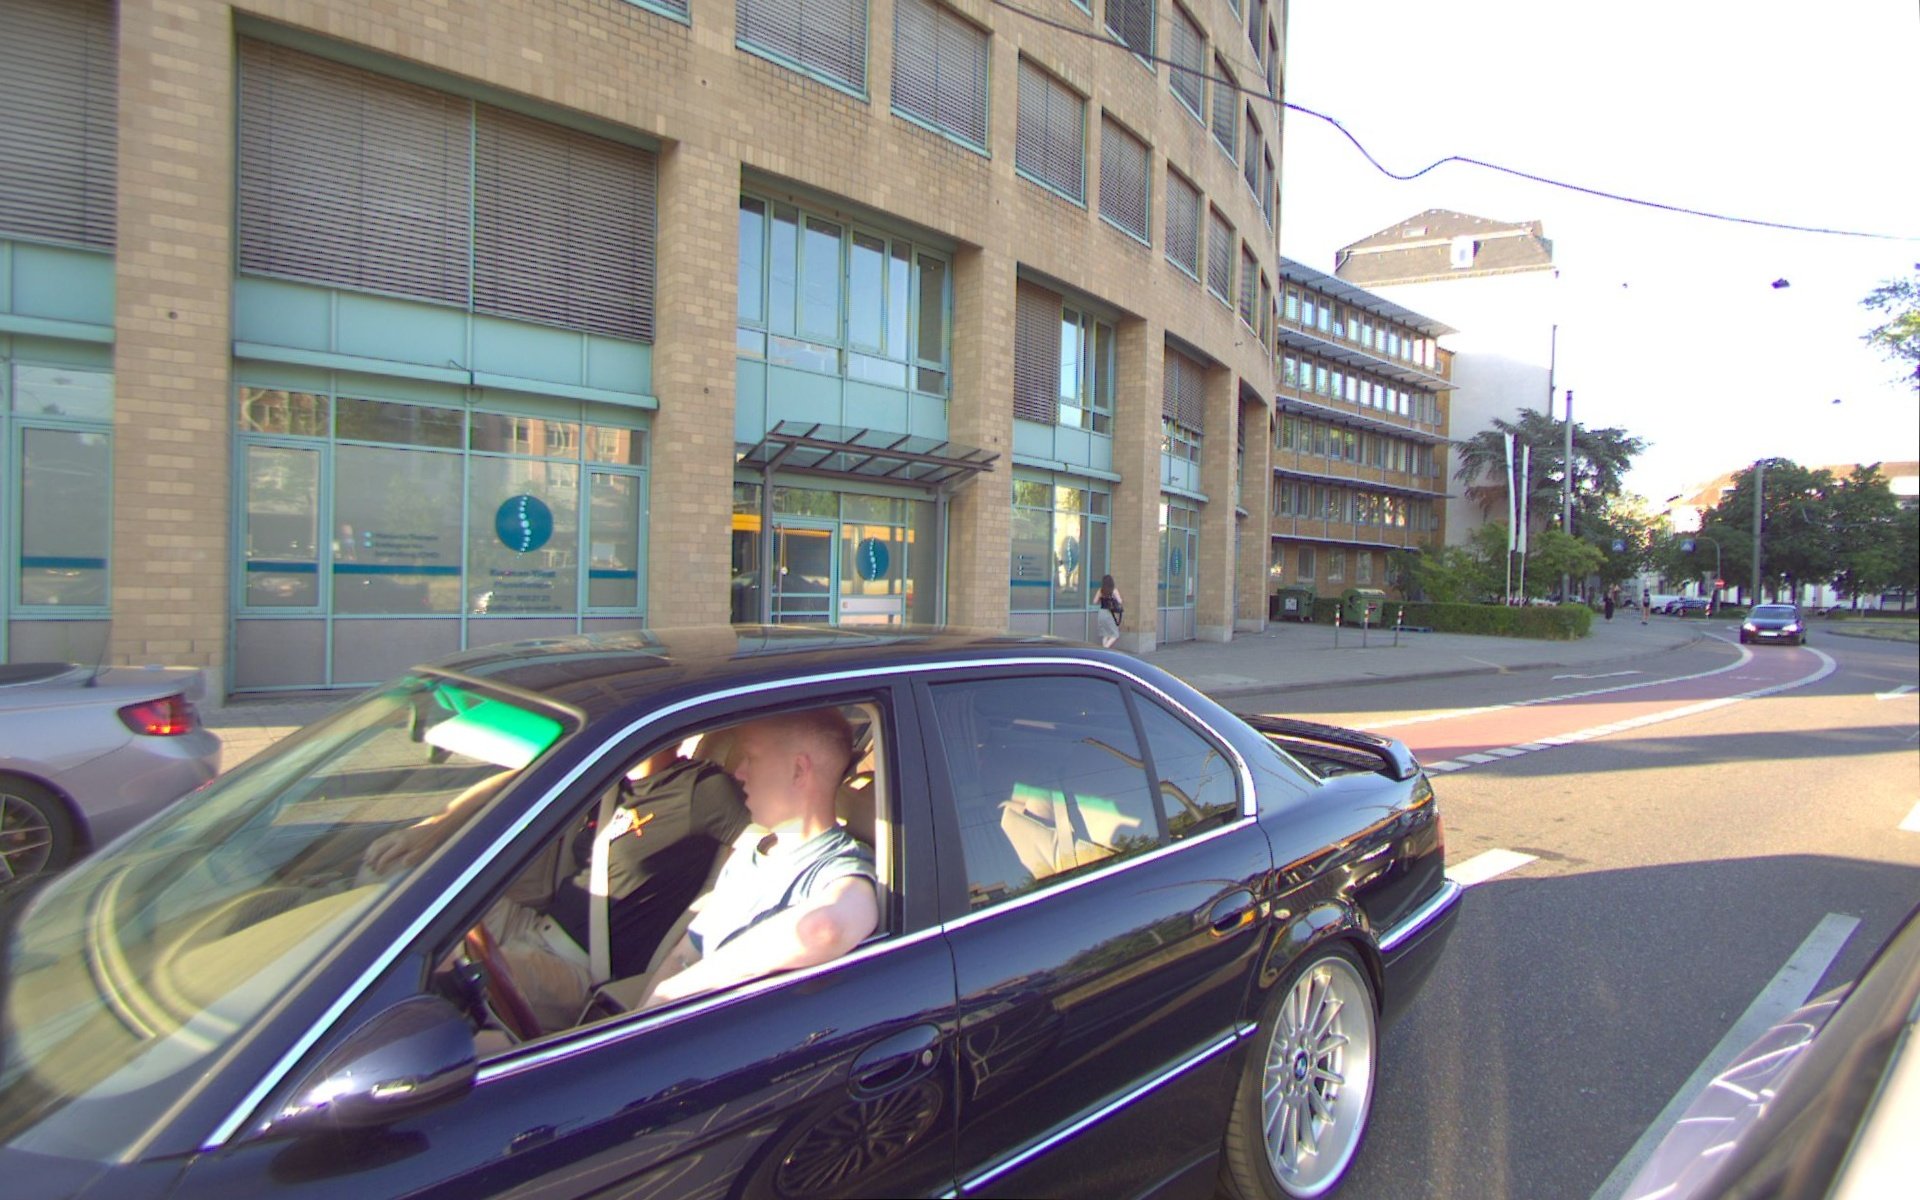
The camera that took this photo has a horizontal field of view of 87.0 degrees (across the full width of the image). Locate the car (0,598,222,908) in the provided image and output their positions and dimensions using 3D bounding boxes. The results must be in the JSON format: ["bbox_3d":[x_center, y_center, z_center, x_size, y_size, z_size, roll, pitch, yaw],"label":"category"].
[{"bbox_3d":[-5.906,0.699,4.473,4.153,1.403,1.746,0,0,-41],"label":"car"}]

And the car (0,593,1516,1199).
[{"bbox_3d":[-0.710,0.700,2.329,4.656,1.402,1.997,0,1,-41],"label":"car"}]

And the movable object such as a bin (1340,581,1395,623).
[{"bbox_3d":[14.878,0.069,36.959,1.311,1.477,1.424,0,1,-45],"label":"movable object such as a bin"}]

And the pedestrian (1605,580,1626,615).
[{"bbox_3d":[34.845,-0.117,53.801,0.711,1.830,0.728,0,1,-41],"label":"pedestrian"}]

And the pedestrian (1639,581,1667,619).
[{"bbox_3d":[35.997,-0.003,52.612,0.900,1.918,1.119,1,1,20],"label":"pedestrian"}]

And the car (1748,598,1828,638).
[{"bbox_3d":[30.793,0.631,37.616,3.932,1.404,1.756,0,0,-42],"label":"car"}]

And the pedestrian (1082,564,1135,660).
[{"bbox_3d":[2.696,0.204,18.363,0.702,1.702,0.626,0,1,-44],"label":"pedestrian"}]

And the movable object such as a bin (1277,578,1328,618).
[{"bbox_3d":[13.360,-0.084,39.504,1.310,1.477,1.425,0,1,-43],"label":"movable object such as a bin"}]
